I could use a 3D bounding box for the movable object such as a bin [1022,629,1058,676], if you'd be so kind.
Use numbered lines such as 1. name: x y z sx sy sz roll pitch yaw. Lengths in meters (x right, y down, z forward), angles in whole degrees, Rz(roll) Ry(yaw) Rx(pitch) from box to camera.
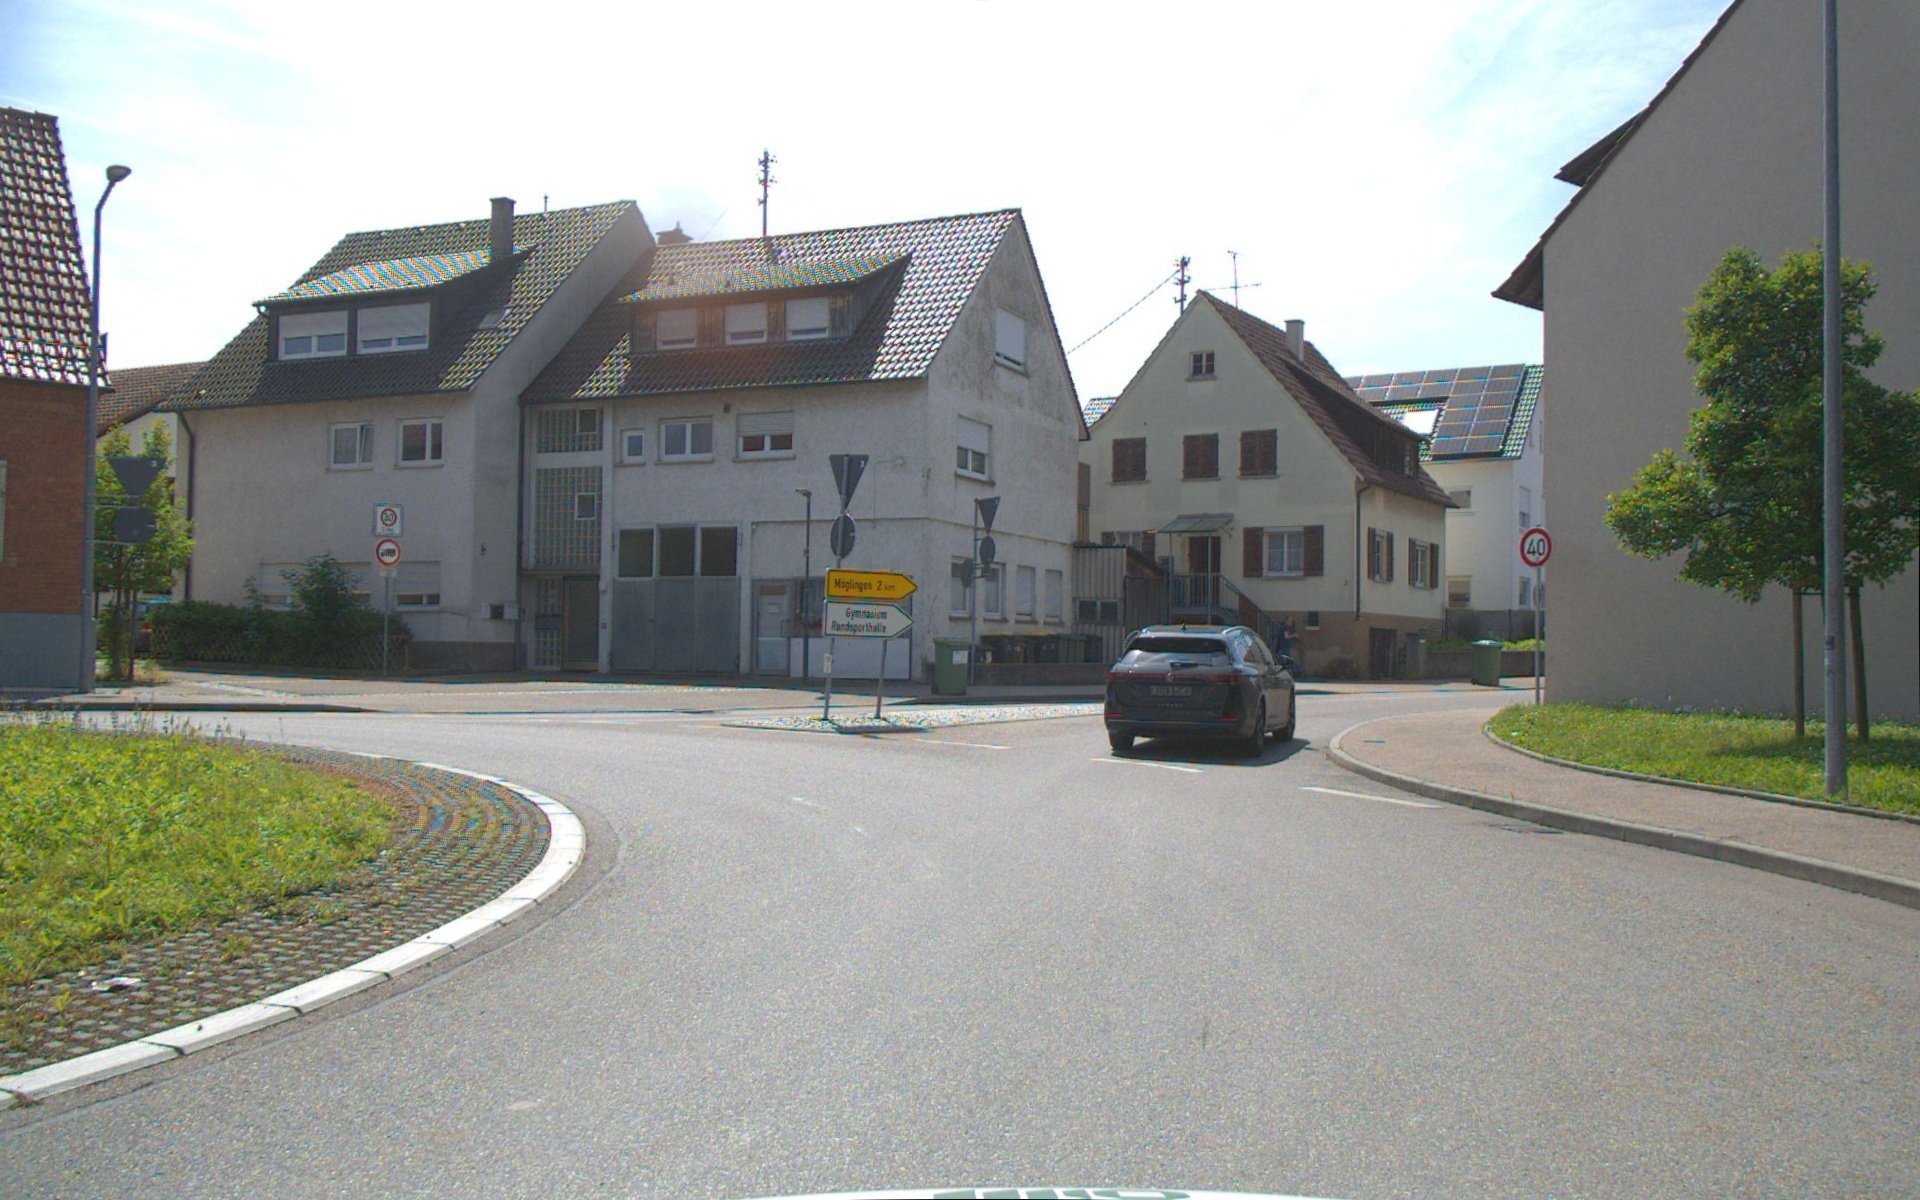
1. movable object such as a bin: 1.918 1.253 39.714 0.669 1.101 0.625 0 -1 23

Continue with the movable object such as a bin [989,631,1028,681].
1. movable object such as a bin: 1.110 1.271 37.877 0.669 1.105 0.698 0 -1 23

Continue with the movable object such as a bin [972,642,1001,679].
1. movable object such as a bin: 0.588 1.343 36.630 0.475 0.794 0.527 0 -1 23

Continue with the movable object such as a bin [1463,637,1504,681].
1. movable object such as a bin: 13.047 1.467 41.219 0.646 1.076 0.781 1 -1 -44

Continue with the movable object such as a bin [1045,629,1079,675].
1. movable object such as a bin: 2.528 1.277 40.885 0.664 1.101 0.583 0 -1 23

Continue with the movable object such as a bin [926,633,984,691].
1. movable object such as a bin: -0.097 1.172 31.386 0.816 1.063 0.803 1 -1 -31

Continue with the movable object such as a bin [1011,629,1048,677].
1. movable object such as a bin: 1.640 1.255 39.201 0.669 1.101 0.698 0 -1 23

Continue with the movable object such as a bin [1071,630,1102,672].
1. movable object such as a bin: 3.212 1.293 42.039 0.615 1.052 0.613 0 -1 23

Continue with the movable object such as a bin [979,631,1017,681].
1. movable object such as a bin: 0.854 1.258 37.234 0.669 1.105 0.645 0 -1 23

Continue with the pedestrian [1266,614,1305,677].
1. pedestrian: 8.453 1.175 42.948 0.765 1.601 0.624 0 -1 40

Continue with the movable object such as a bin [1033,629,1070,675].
1. movable object such as a bin: 2.227 1.265 40.298 0.724 1.101 0.660 0 -1 23

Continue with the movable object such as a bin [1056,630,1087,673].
1. movable object such as a bin: 2.787 1.274 41.434 0.614 1.053 0.603 0 -1 23

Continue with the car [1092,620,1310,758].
1. car: 3.081 0.982 20.288 1.803 1.445 4.683 0 0 19

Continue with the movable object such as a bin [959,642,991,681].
1. movable object such as a bin: 0.324 1.331 36.035 0.475 0.819 0.646 0 -1 24

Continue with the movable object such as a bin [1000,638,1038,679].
1. movable object such as a bin: 1.372 1.363 38.538 0.669 0.912 0.698 0 -1 23
